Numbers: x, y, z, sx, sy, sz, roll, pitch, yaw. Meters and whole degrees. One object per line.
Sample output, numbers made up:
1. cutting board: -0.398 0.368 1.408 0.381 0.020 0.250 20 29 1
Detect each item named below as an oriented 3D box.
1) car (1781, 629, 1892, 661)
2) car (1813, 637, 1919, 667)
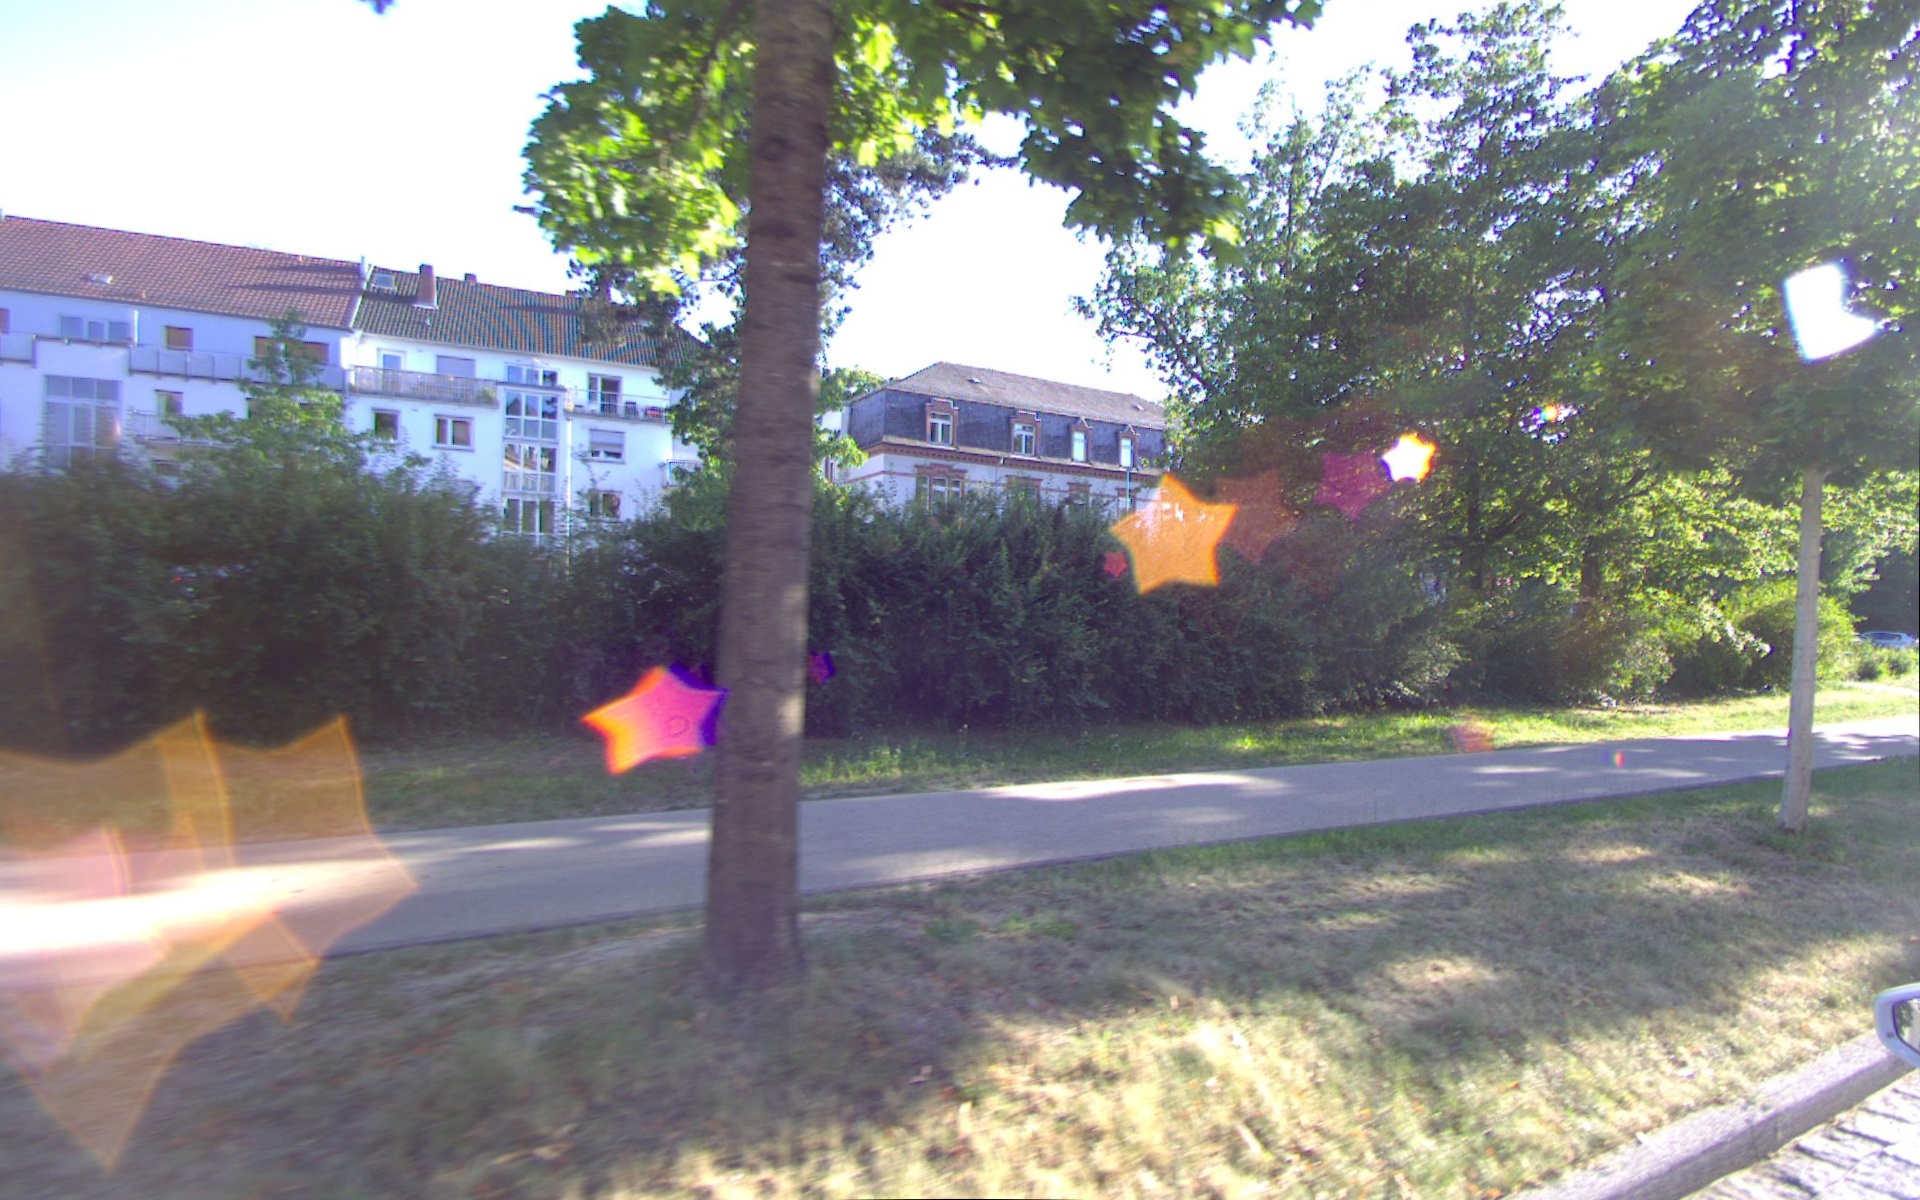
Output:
1. car: 44.318 2.247 50.878 3.929 1.439 1.768 1 0 31
2. car: 49.289 2.807 54.754 3.925 1.439 1.770 1 0 26
